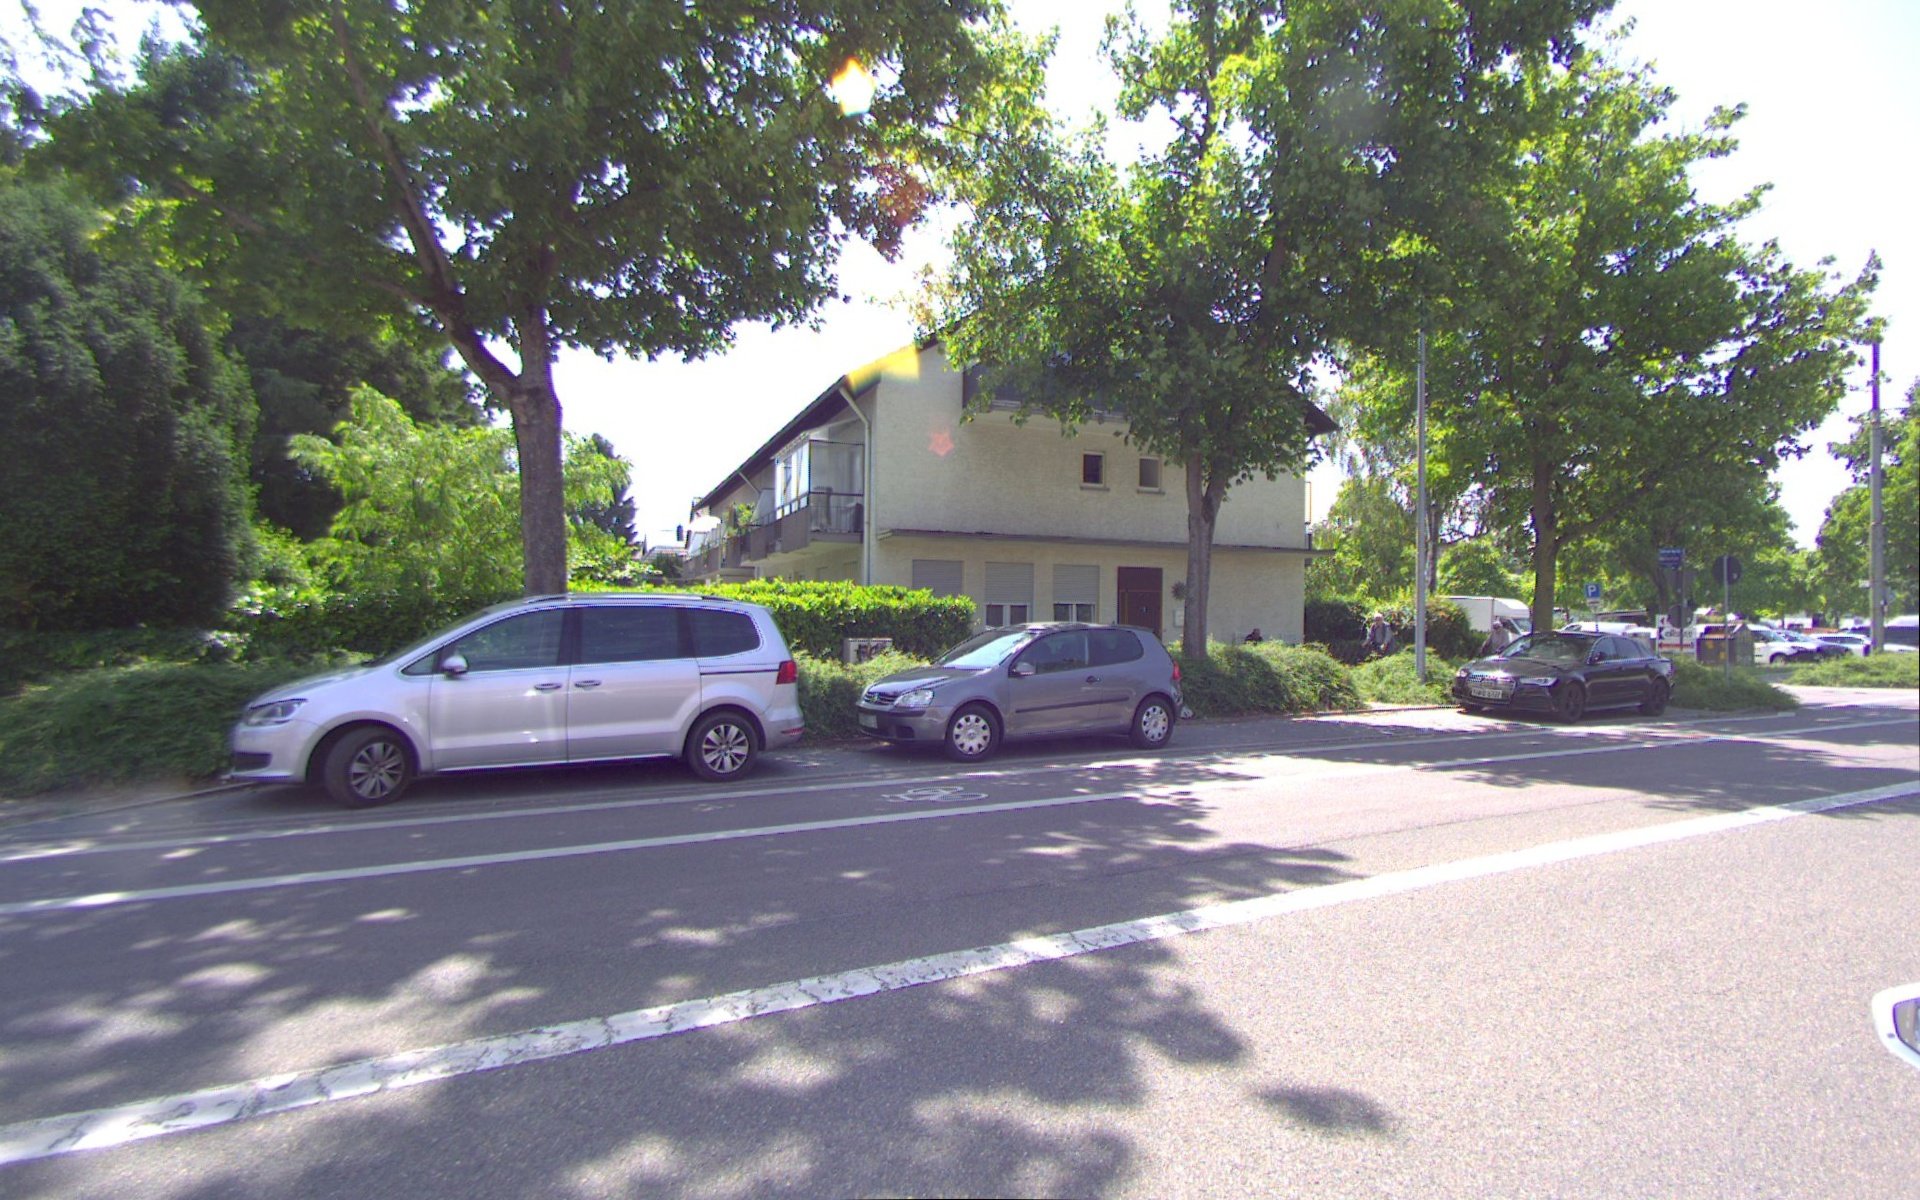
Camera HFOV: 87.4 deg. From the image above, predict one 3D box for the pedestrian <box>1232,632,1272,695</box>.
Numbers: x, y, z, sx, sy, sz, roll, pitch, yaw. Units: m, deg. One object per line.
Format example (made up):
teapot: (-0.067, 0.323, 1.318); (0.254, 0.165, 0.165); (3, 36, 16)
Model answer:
pedestrian: (7.354, 1.582, 25.302); (0.599, 1.530, 0.792); (1, -1, -23)

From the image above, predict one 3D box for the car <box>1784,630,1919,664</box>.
car: (43.073, 2.248, 48.477); (2.034, 1.508, 4.738); (1, -1, -30)

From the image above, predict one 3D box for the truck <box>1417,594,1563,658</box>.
truck: (28.703, 1.359, 54.733); (2.126, 3.270, 6.942); (1, 0, -31)

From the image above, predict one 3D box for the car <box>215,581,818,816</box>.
car: (-3.846, 0.753, 9.310); (4.630, 1.711, 1.962); (1, 0, -29)

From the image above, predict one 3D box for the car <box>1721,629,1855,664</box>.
car: (36.420, 2.010, 44.299); (2.059, 1.422, 4.171); (1, -1, -33)

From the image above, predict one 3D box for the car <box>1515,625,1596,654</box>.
car: (34.935, 2.309, 59.029); (1.712, 1.597, 3.729); (1, 0, -30)

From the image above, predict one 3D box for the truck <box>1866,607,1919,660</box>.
truck: (52.201, 1.803, 53.416); (2.402, 2.796, 5.556); (1, -1, -28)

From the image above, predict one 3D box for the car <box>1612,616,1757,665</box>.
car: (29.434, 1.615, 40.929); (2.040, 1.881, 4.420); (1, -1, -34)

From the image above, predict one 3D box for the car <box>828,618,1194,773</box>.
car: (0.657, 1.011, 11.854); (4.080, 1.506, 1.668); (1, 0, -31)

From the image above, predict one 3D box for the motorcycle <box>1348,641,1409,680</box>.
motorcycle: (9.449, 1.353, 22.669); (1.354, 0.837, 0.523); (1, 2, -29)

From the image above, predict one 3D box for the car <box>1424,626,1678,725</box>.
car: (10.437, 1.231, 17.632); (4.757, 1.476, 1.883); (1, 0, -33)

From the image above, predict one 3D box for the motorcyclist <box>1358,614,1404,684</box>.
motorcyclist: (9.504, 1.095, 22.687); (0.716, 1.523, 0.584); (1, 2, -29)

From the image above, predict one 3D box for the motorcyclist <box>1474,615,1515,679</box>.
motorcyclist: (13.171, 1.151, 24.751); (0.654, 1.523, 0.584); (1, 2, -29)

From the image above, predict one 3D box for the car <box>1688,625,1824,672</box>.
car: (33.814, 2.021, 42.809); (1.651, 1.860, 4.251); (1, -1, -27)

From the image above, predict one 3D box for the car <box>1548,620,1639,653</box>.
car: (37.454, 2.144, 59.462); (1.948, 1.845, 4.108); (1, -1, -30)

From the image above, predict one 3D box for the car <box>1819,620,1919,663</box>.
car: (45.442, 2.023, 49.638); (1.835, 2.021, 4.189); (1, -1, -30)
